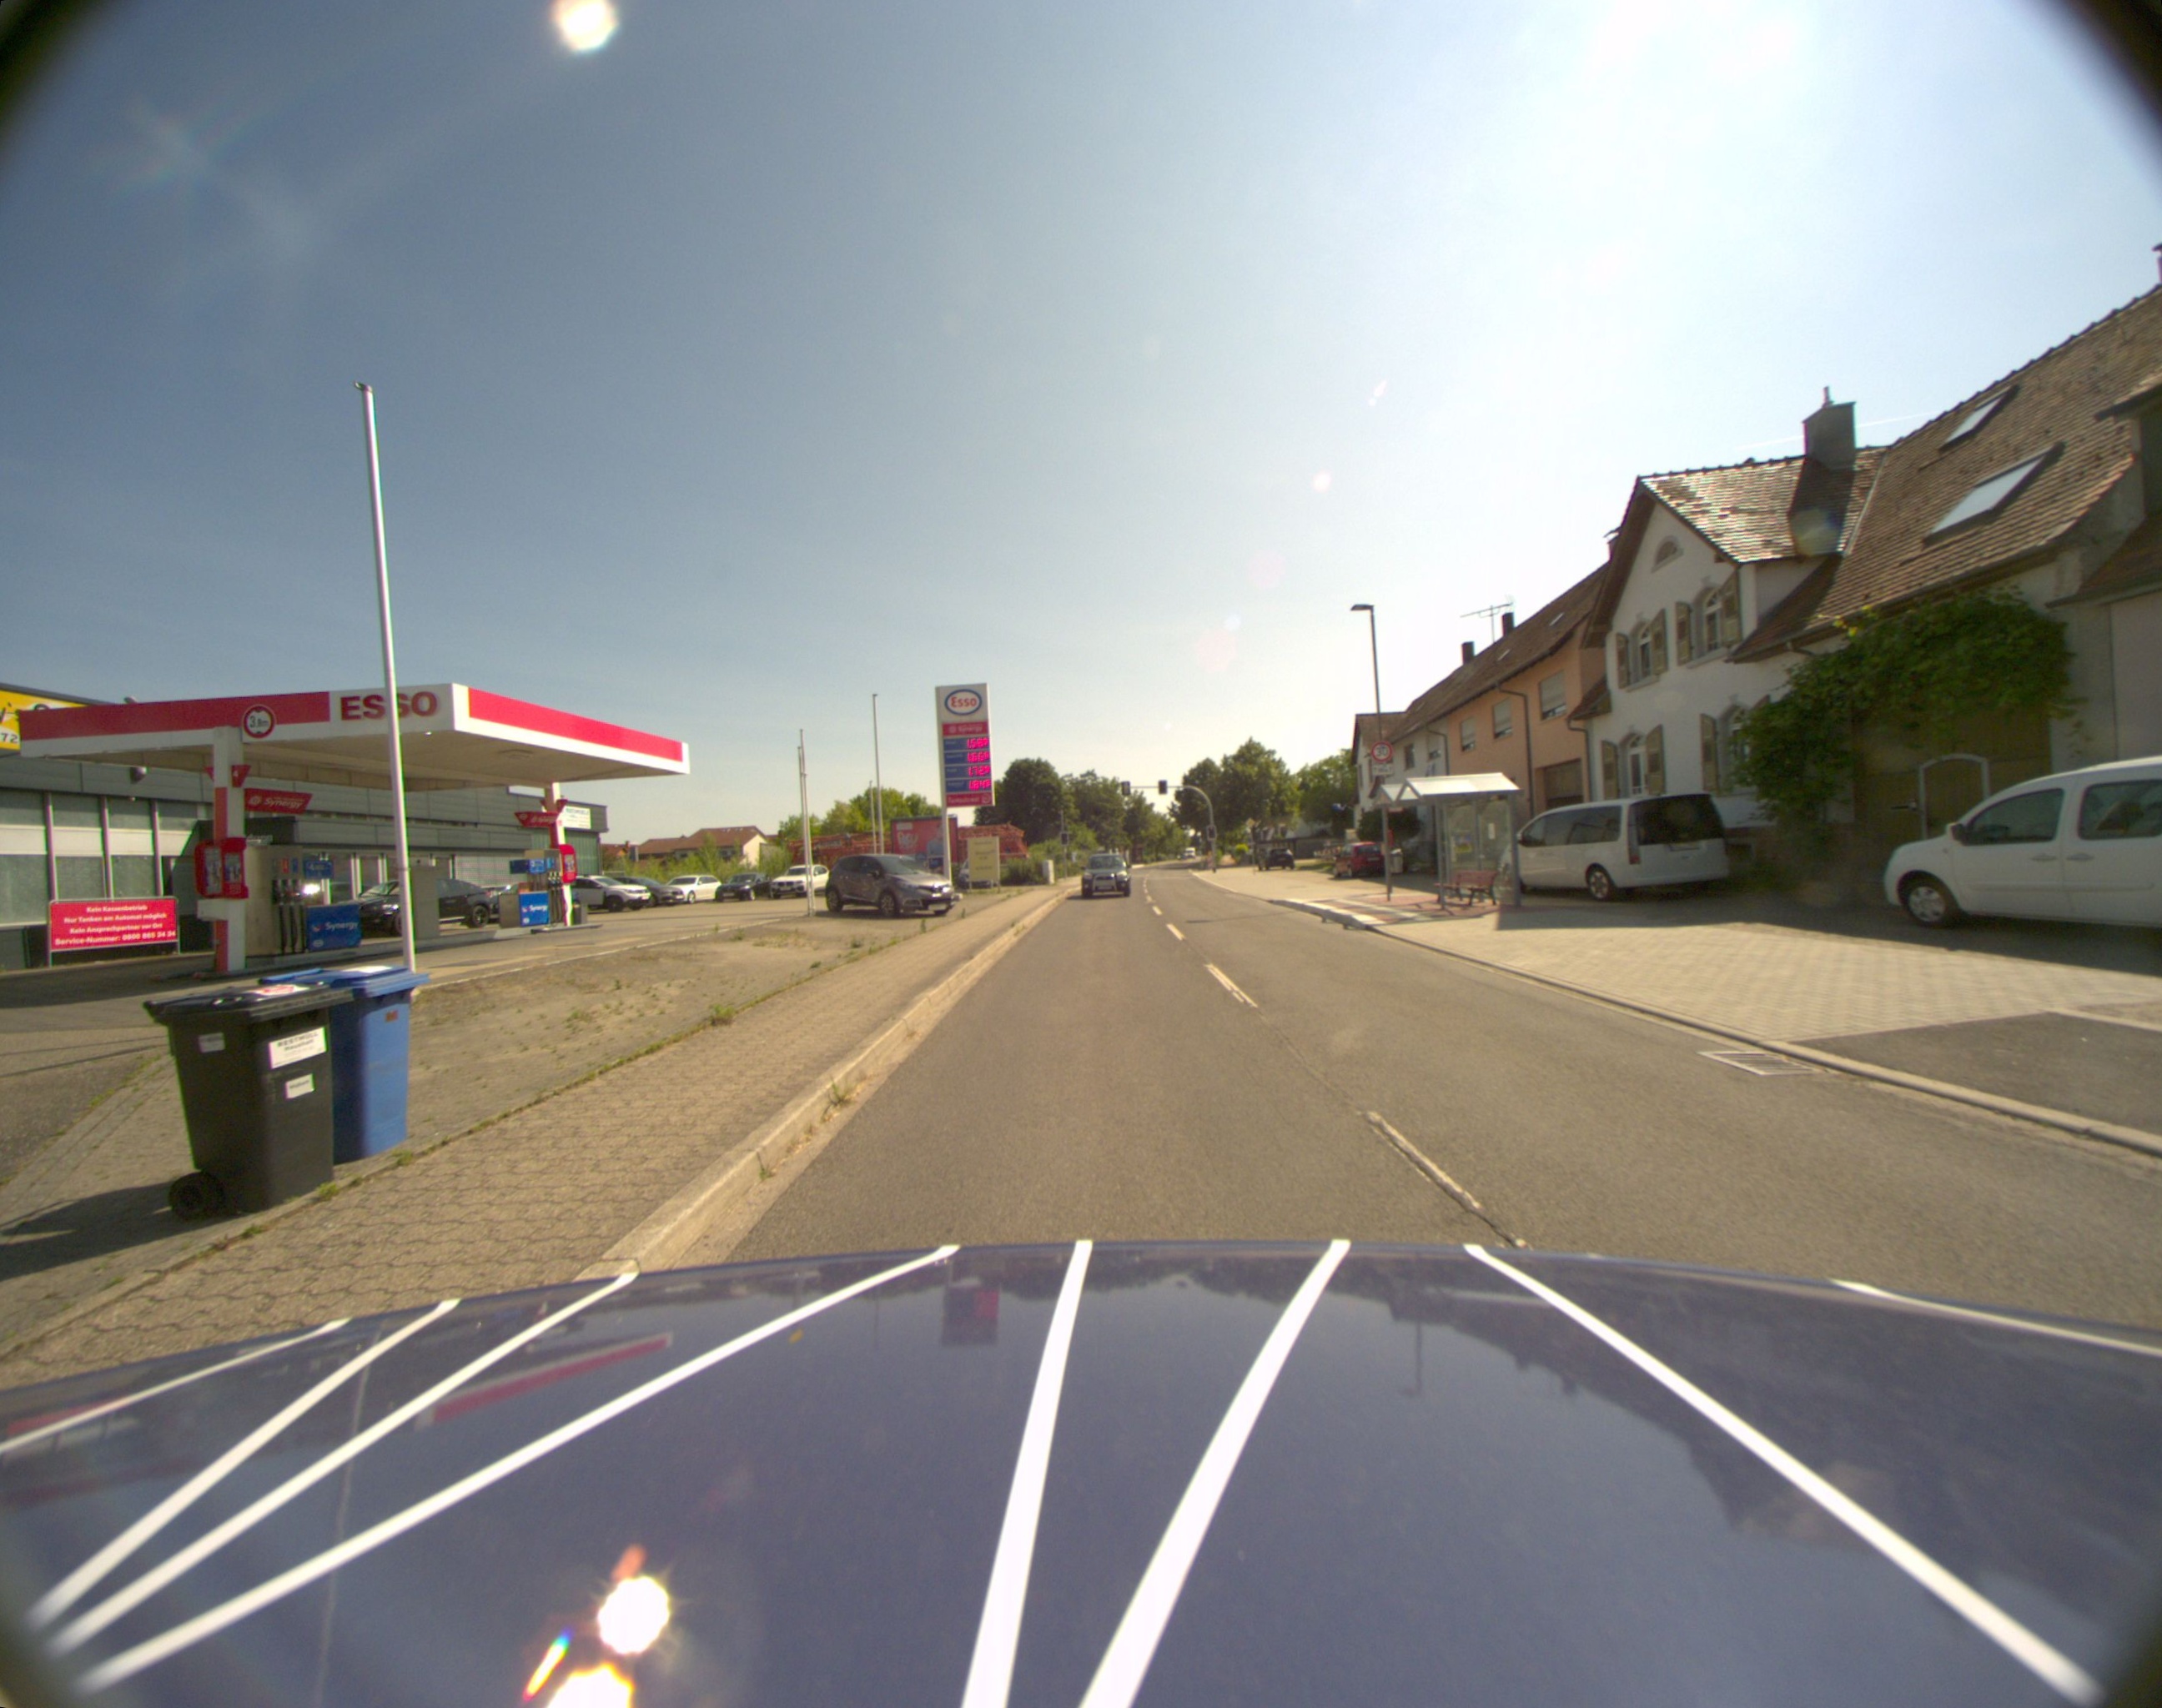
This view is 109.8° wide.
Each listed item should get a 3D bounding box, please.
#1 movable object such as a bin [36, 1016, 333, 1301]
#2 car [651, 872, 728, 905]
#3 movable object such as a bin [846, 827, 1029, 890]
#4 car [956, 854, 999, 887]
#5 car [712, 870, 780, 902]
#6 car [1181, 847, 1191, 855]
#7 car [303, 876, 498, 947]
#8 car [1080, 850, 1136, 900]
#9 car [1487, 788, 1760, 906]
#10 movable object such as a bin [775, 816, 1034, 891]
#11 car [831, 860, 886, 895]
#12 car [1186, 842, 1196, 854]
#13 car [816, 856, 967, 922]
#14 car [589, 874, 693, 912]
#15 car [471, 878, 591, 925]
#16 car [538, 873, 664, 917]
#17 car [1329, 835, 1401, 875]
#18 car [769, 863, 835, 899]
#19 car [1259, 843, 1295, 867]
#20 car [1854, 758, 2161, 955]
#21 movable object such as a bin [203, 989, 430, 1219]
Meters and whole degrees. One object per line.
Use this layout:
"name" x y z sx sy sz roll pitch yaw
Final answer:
"movable object such as a bin" -3.652 1.206 3.144 0.559 0.931 0.514 -2 1 -7
"car" -20.103 1.722 39.206 1.846 1.379 4.374 -3 0 -3
"movable object such as a bin" -10.872 0.324 58.177 13.285 4.141 2.863 -3 0 2
"car" -5.535 0.882 41.164 1.809 1.676 4.369 -1 -1 -1
"car" -17.207 1.600 39.192 1.846 1.379 3.998 -3 0 -3
"car" 21.874 -0.609 158.073 1.844 1.583 4.108 -2 0 9
"car" -19.944 1.597 22.628 1.810 1.730 4.816 -3 -1 -7
"car" 1.138 0.786 29.662 1.848 1.686 4.400 -4 -1 5
"car" 11.132 -0.157 16.253 2.131 1.975 5.265 -4 1 2
"movable object such as a bin" -11.283 -0.021 49.405 16.090 3.995 2.774 -3 0 2
"car" -11.626 1.193 39.963 1.846 1.583 4.104 -3 0 -3
"car" 25.028 -1.360 172.571 1.937 2.488 5.841 -2 1 9
"car" -5.026 0.829 19.848 4.170 1.546 1.778 0 0 42
"car" -20.306 1.788 35.205 3.688 1.465 1.811 -3 1 -1
"car" -20.578 1.736 28.667 1.798 1.423 4.124 -3 0 -6
"car" -20.469 1.726 32.508 4.151 1.624 1.811 -3 1 -1
"car" 11.936 0.069 32.168 1.718 1.444 3.916 -4 -1 4
"car" -14.476 1.356 39.725 2.004 1.583 4.337 -3 0 -3
"car" 12.920 0.053 50.307 1.718 1.399 4.399 -2 1 6
"car" 10.751 -0.048 7.614 1.972 1.764 4.279 -3 1 8
"movable object such as a bin" -3.748 1.199 3.770 0.559 0.933 0.514 -2 1 -7
